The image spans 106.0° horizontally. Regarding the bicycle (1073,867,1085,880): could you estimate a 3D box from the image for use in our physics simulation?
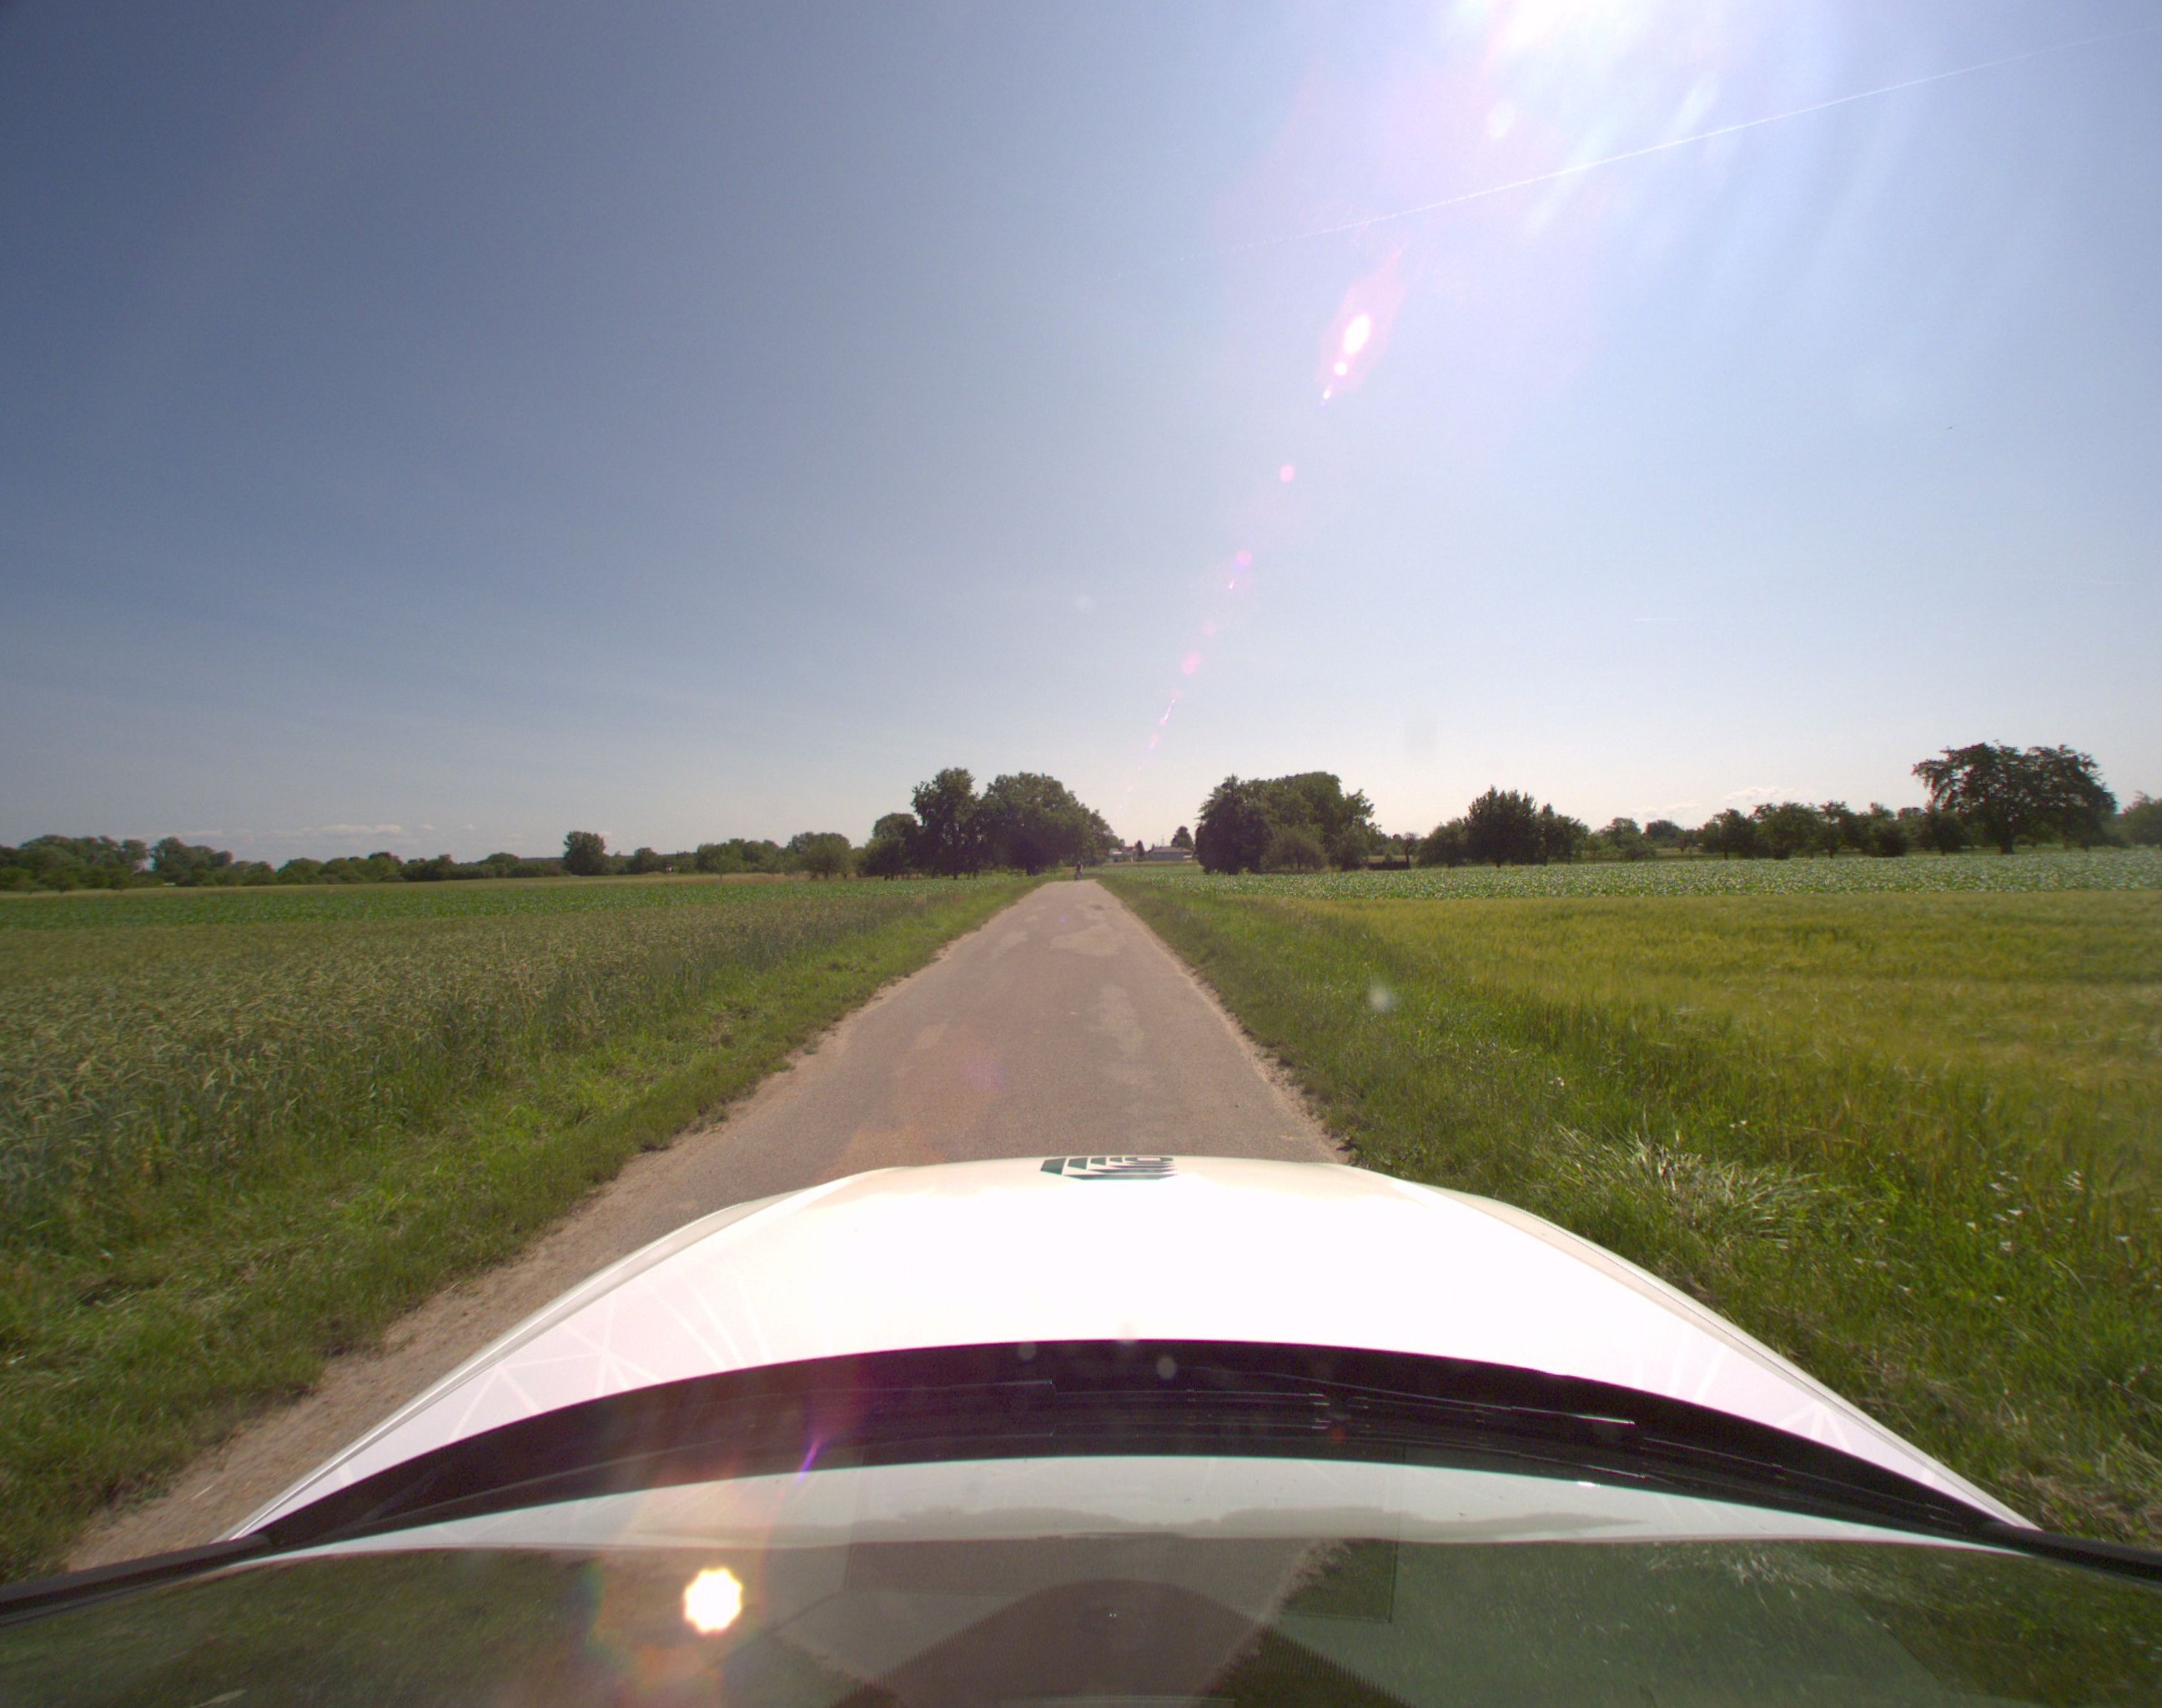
[{"bbox_3d":[-0.189,1.783,74.247,0.746,1.127,1.913,-4,-1,8],"label":"bicycle"}]

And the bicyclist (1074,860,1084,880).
[{"bbox_3d":[-0.203,1.461,74.257,0.746,1.791,0.718,-4,-1,8],"label":"bicyclist"}]
